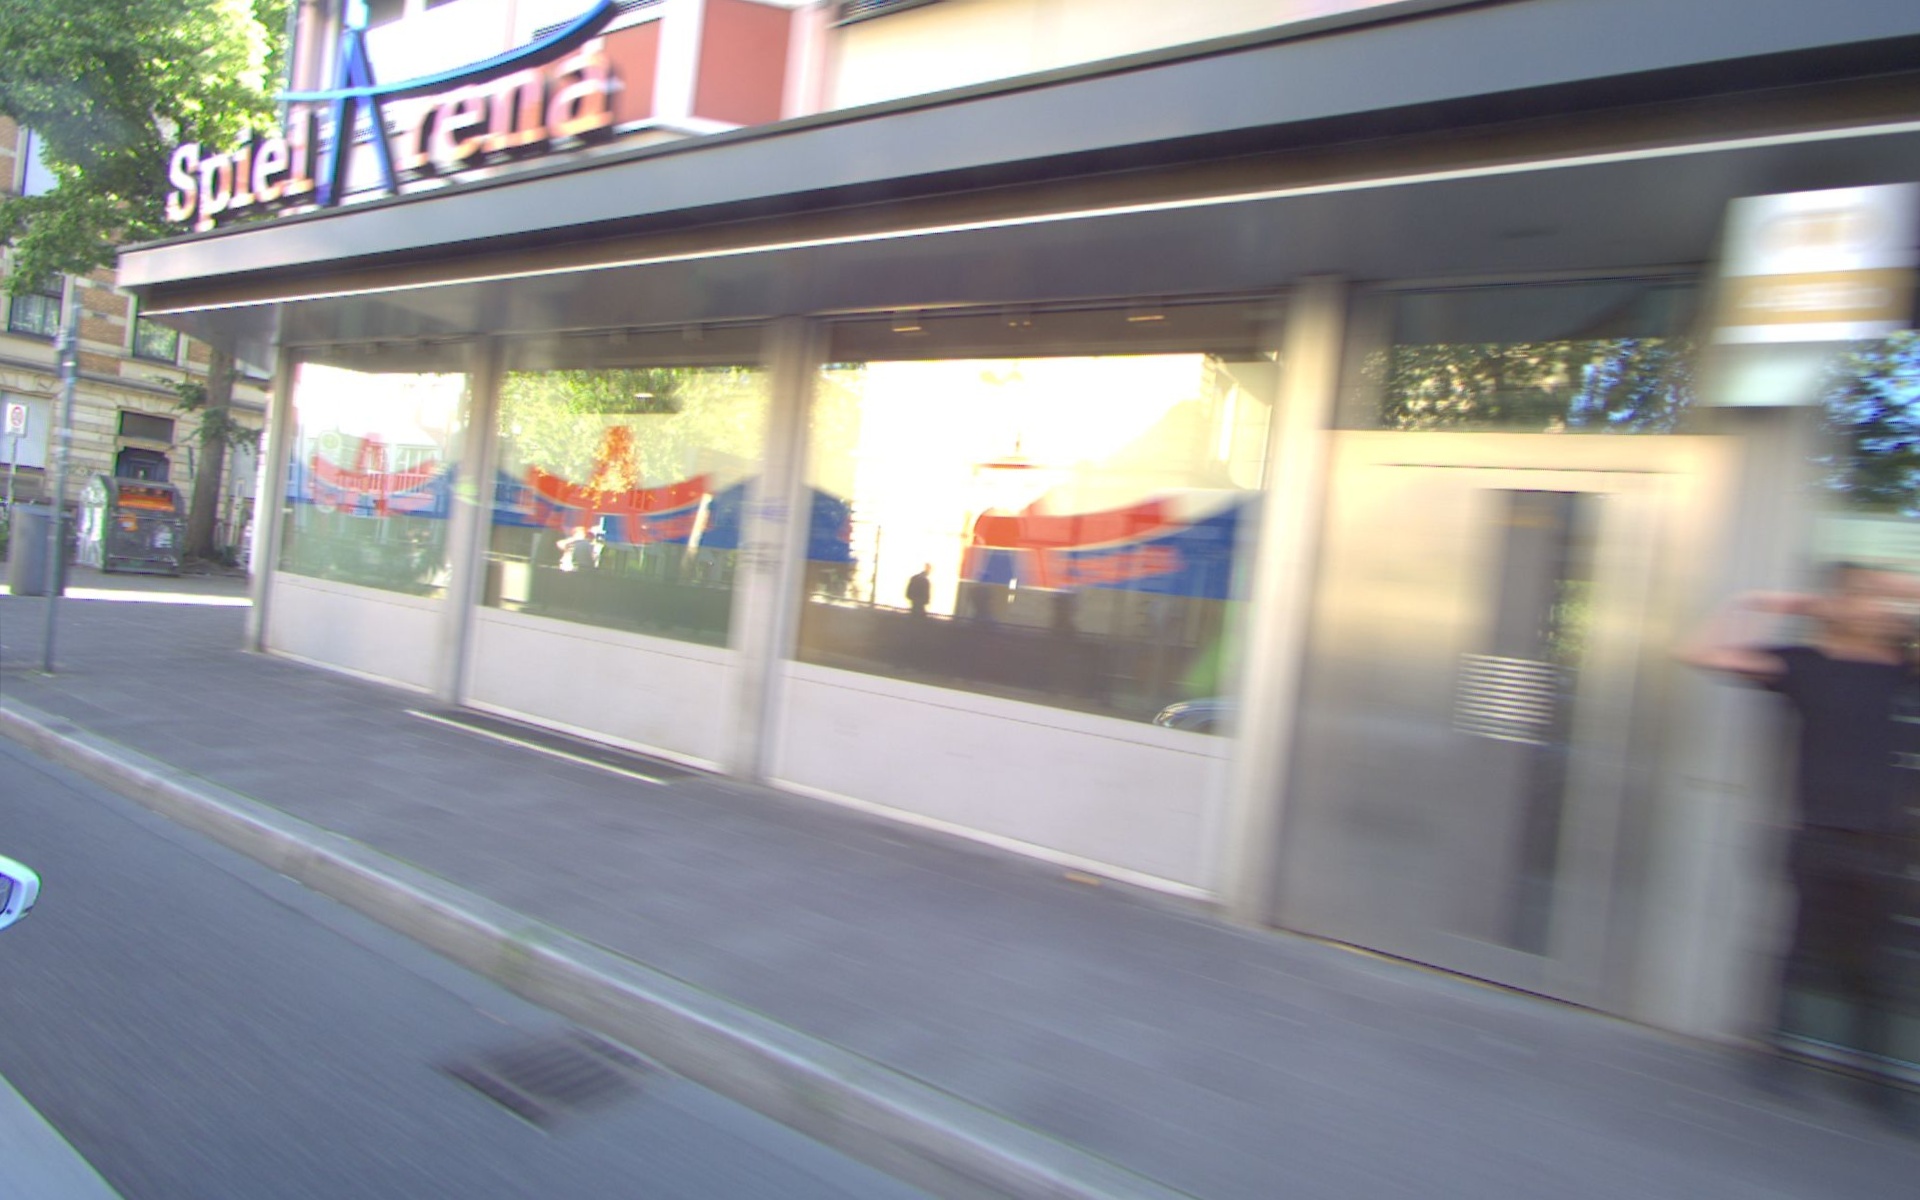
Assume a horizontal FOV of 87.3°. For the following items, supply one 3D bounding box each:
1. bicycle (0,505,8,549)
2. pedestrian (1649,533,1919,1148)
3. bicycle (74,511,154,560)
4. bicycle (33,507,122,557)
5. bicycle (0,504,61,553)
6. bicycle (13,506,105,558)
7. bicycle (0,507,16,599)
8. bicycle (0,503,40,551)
[{"bbox_3d":[-25.168,-1.955,25.276,1.784,1.129,0.443,7,1,-10],"label":"bicycle"},{"bbox_3d":[2.967,0.756,3.435,0.798,1.873,0.451,7,2,32],"label":"pedestrian"},{"bbox_3d":[-23.947,-1.817,28.496,1.781,1.129,0.444,7,1,-1],"label":"bicycle"},{"bbox_3d":[-24.137,-1.848,27.541,1.784,1.129,0.443,7,1,-10],"label":"bicycle"},{"bbox_3d":[-24.848,-1.908,26.420,1.784,1.129,0.443,7,1,-10],"label":"bicycle"},{"bbox_3d":[-24.204,-1.821,27.047,1.784,1.129,0.443,7,1,-10],"label":"bicycle"},{"bbox_3d":[-12.422,-0.652,11.711,0.554,1.120,1.948,7,0,29],"label":"bicycle"},{"bbox_3d":[-24.910,-1.940,25.879,1.784,1.129,0.443,7,1,-10],"label":"bicycle"}]
